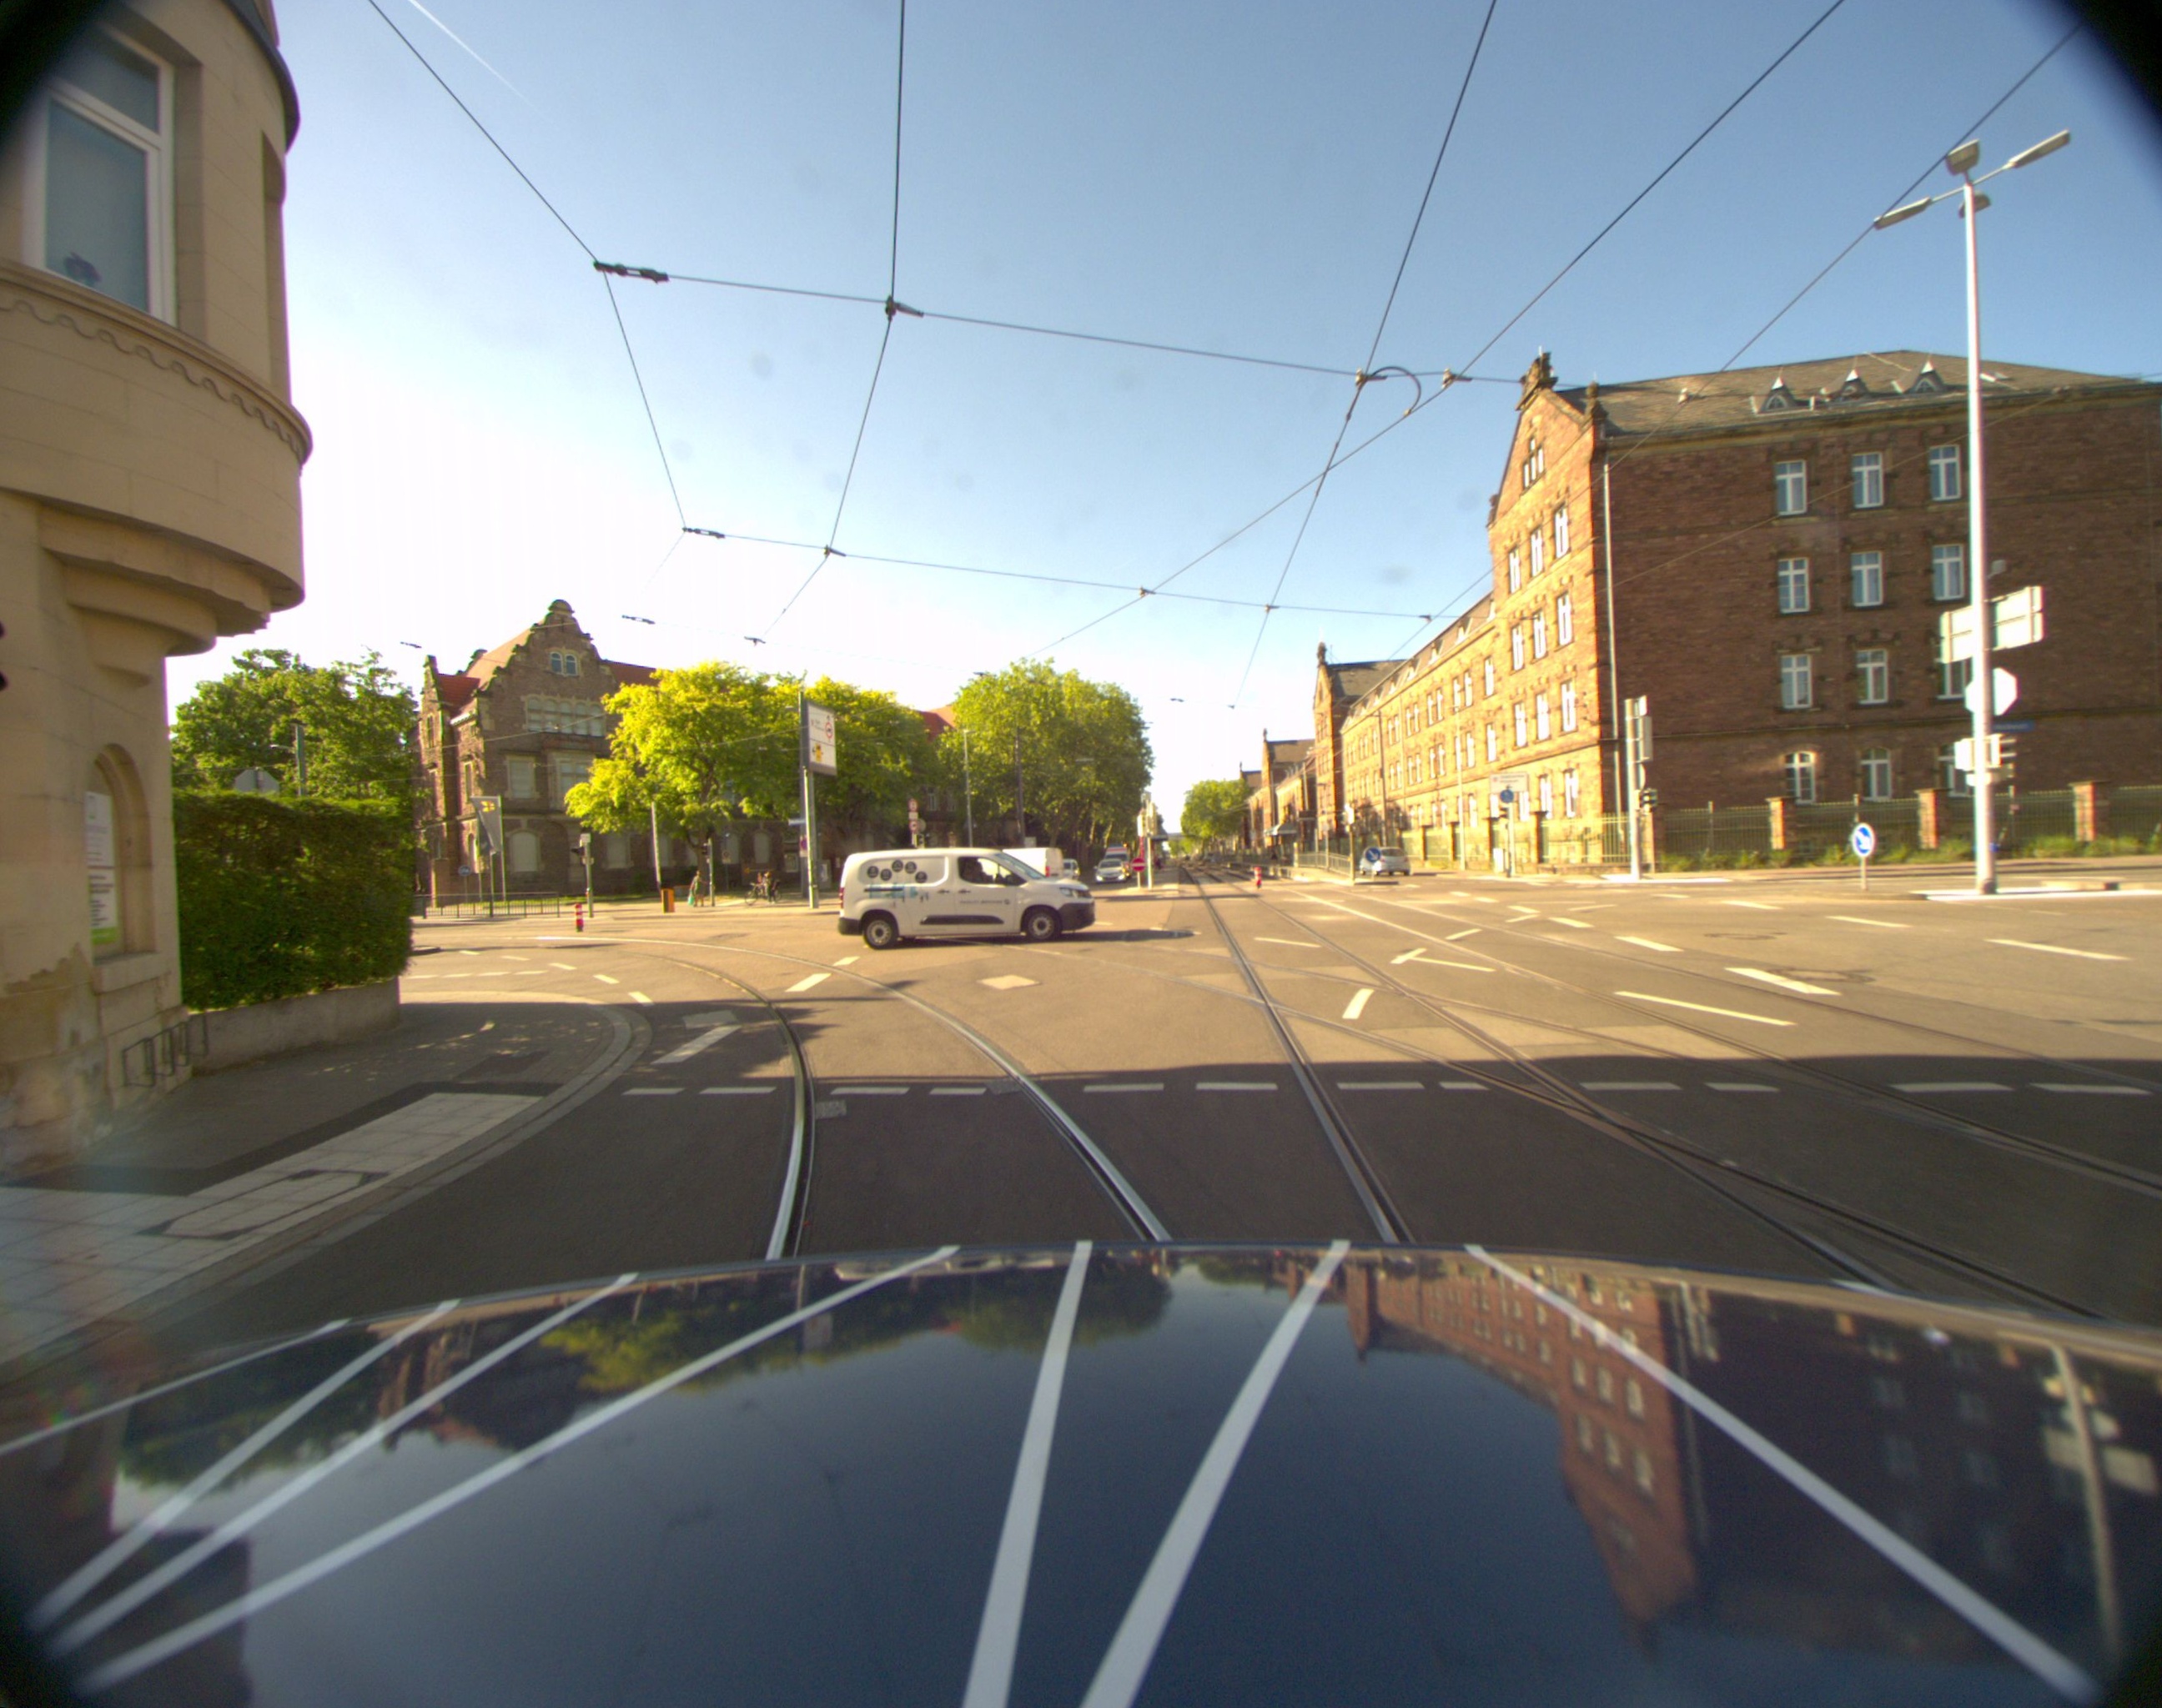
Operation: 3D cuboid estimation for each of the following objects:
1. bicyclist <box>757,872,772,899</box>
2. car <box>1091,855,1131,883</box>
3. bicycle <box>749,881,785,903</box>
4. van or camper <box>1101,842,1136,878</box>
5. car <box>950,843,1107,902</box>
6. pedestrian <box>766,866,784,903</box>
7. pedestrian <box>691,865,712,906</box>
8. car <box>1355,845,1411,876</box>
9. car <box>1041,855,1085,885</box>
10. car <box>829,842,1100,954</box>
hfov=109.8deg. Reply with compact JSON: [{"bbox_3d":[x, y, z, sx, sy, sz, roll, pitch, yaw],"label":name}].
[{"bbox_3d":[-15.518,1.550,37.241,0.619,1.277,0.478,-3,1,-22],"label":"bicyclist"},{"bbox_3d":[1.857,0.905,46.462,1.983,1.539,4.037,-3,-1,8],"label":"car"},{"bbox_3d":[-15.395,1.859,37.269,1.594,0.991,0.478,-3,1,-22],"label":"bicycle"},{"bbox_3d":[2.800,0.472,55.176,1.997,2.346,5.603,-2,-1,7],"label":"van or camper"},{"bbox_3d":[-1.922,0.683,28.106,5.291,1.917,2.168,-3,0,19],"label":"car"},{"bbox_3d":[-14.599,1.440,36.268,0.670,1.736,0.485,-3,1,-14],"label":"pedestrian"},{"bbox_3d":[-18.485,1.528,37.017,0.698,1.943,0.485,-3,1,-14],"label":"pedestrian"},{"bbox_3d":[15.460,0.316,39.103,1.739,1.434,4.118,-2,0,8],"label":"car"},{"bbox_3d":[-0.994,0.912,45.297,1.910,1.608,4.574,-3,-1,7],"label":"car"},{"bbox_3d":[-2.088,0.791,14.452,4.691,1.789,1.858,-2,3,6],"label":"car"}]
